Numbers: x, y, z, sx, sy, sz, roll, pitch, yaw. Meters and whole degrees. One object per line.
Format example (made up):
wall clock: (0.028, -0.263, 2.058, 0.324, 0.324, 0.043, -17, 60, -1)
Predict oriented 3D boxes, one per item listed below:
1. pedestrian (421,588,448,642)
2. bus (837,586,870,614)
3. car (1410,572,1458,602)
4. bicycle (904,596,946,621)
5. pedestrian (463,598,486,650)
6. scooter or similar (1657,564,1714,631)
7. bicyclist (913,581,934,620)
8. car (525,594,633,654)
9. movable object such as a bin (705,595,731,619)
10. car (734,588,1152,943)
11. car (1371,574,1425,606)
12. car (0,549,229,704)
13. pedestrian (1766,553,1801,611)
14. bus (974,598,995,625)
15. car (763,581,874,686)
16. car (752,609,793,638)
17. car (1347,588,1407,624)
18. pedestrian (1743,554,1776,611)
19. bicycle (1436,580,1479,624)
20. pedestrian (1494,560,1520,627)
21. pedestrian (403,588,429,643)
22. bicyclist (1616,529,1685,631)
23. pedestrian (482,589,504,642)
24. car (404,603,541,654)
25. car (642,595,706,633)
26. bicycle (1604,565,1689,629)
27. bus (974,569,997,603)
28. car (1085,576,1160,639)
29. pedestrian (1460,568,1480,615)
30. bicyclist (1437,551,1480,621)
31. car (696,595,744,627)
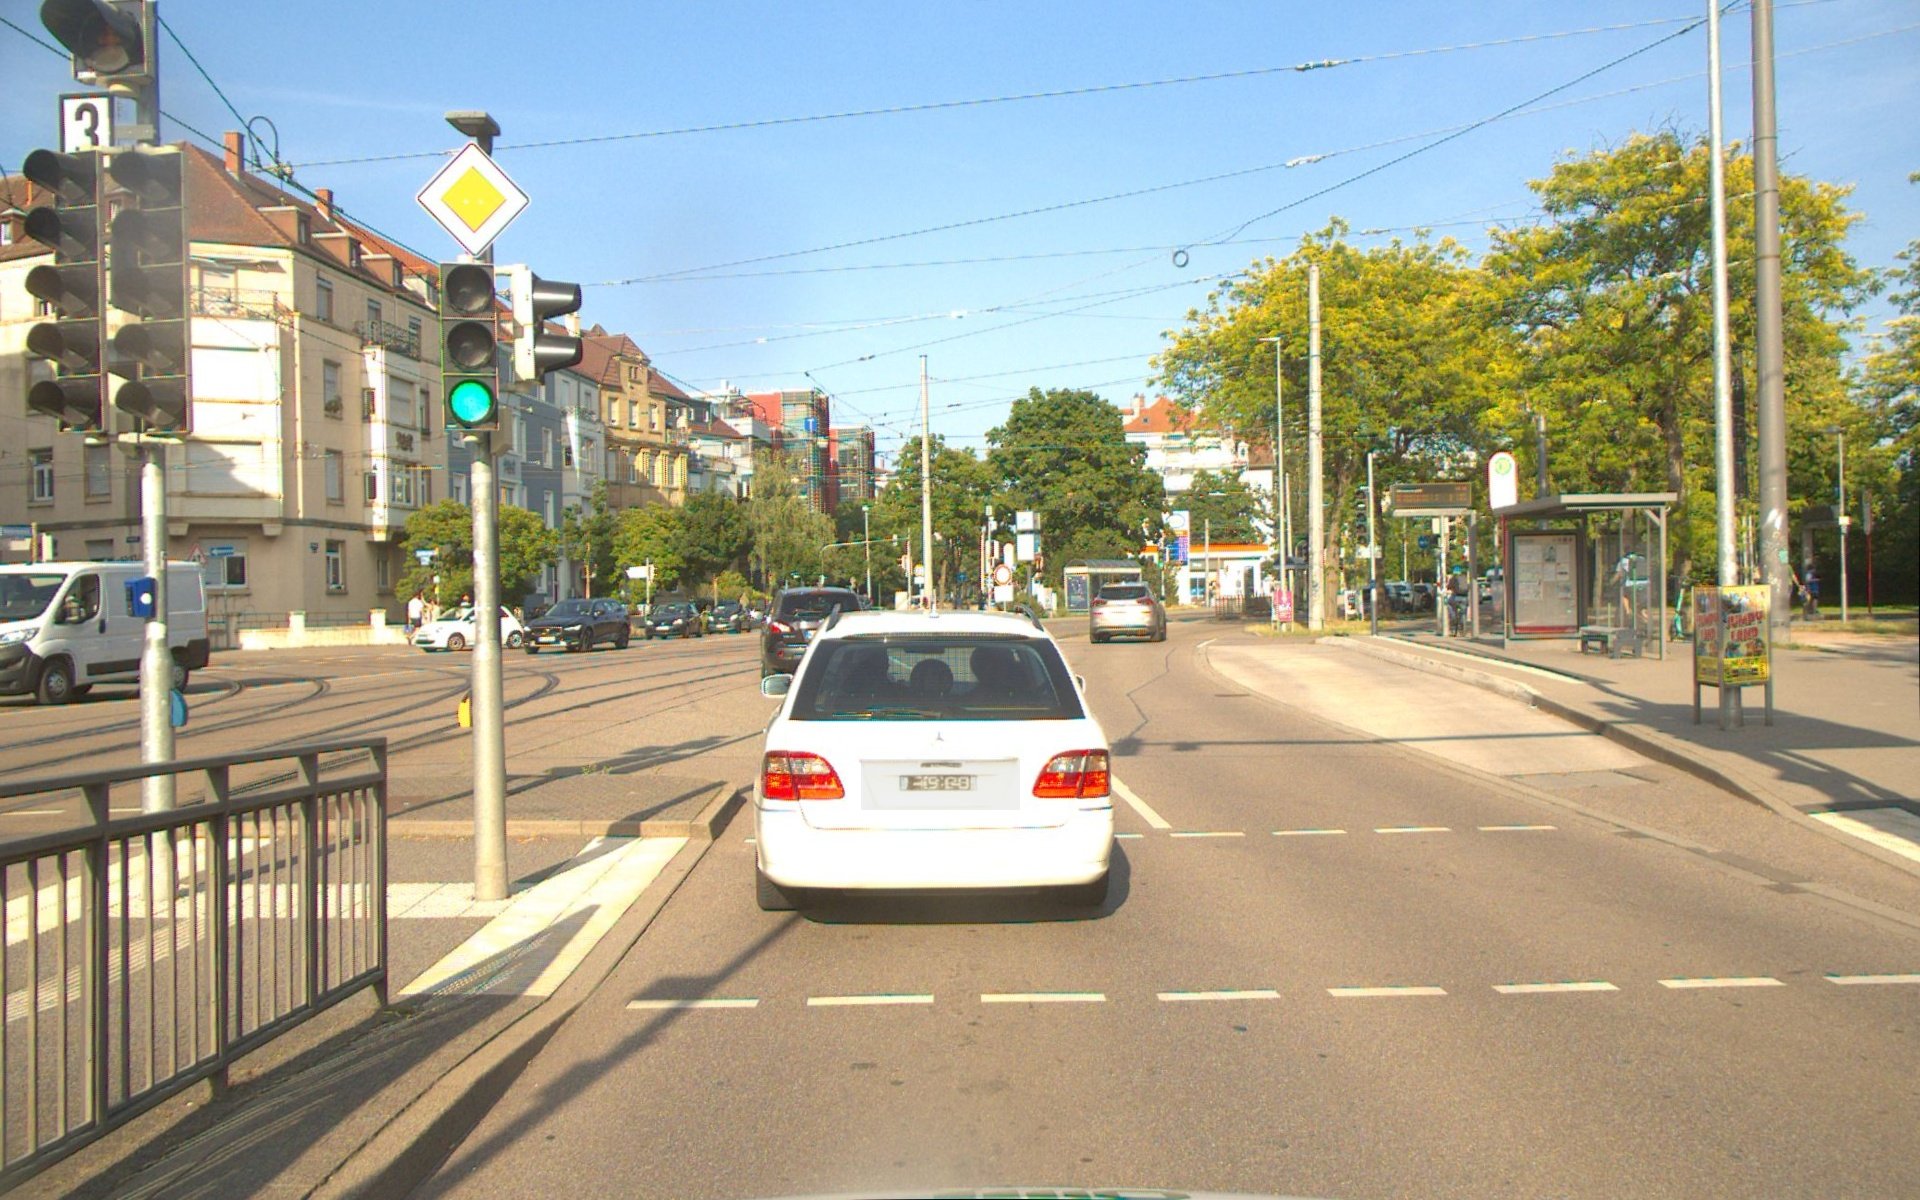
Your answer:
pedestrian: (-18.541, 0.540, 58.356, 0.660, 1.880, 0.650, -1, 0, 6)
bus: (-6.581, 0.000, 102.397, 1.807, 1.665, 4.158, -1, 0, -1)
car: (27.015, -0.744, 94.205, 1.818, 1.542, 3.995, -3, 0, 27)
bicycle: (-1.599, 0.401, 75.445, 1.875, 1.011, 0.726, -3, 0, -1)
pedestrian: (-17.917, 0.878, 61.041, 0.572, 1.914, 0.627, -1, 0, 3)
scooter or similar: (13.837, -0.047, 31.565, 0.345, 1.253, 1.131, -1, 0, -15)
bicyclist: (-1.649, 0.039, 75.442, 0.881, 1.728, 0.732, -3, 0, 0)
car: (-11.161, 0.659, 48.816, 1.729, 1.520, 4.747, -1, 2, 4)
movable object such as a bin: (-15.564, 0.451, 106.326, 1.573, 1.446, 1.082, -2, 0, -8)
car: (-0.107, 0.714, 9.055, 1.798, 1.527, 3.814, 0, 0, -1)
car: (22.549, -0.527, 85.020, 1.818, 1.542, 3.995, -3, 0, 27)
car: (-14.498, 0.385, 27.072, 2.130, 2.278, 5.258, -1, 0, 8)
pedestrian: (24.272, -0.533, 48.755, 0.628, 1.694, 0.690, -1, 0, -1)
bus: (2.170, 1.010, 146.942, 1.761, 2.374, 3.999, 1, -1, 0)
car: (-2.306, 0.517, 27.724, 1.608, 1.628, 3.814, 0, 0, -1)
car: (-10.746, 1.333, 95.056, 1.654, 1.466, 4.002, -2, 1, 3)
car: (20.129, 0.270, 79.797, 1.818, 1.542, 3.994, -3, 0, 28)
pedestrian: (23.978, -0.532, 49.615, 0.628, 1.694, 0.690, -1, 0, -1)
bicycle: (13.204, 0.049, 43.945, 0.627, 1.107, 1.734, -4, 0, 3)
pedestrian: (14.932, -0.166, 45.162, 0.565, 1.808, 0.588, 1, 0, 7)
pedestrian: (-19.224, 0.534, 58.446, 0.644, 1.914, 0.627, -1, 0, 8)
bicyclist: (12.582, -0.359, 30.159, 0.636, 1.776, 1.139, -4, 0, -2)
pedestrian: (-17.258, 0.570, 61.099, 0.572, 1.914, 0.627, -1, 0, 4)
car: (-15.903, 0.914, 54.102, 1.766, 1.482, 3.981, -1, 1, 39)
car: (-11.721, 0.547, 67.919, 1.730, 1.458, 4.001, -1, 0, 2)
bicycle: (12.593, -0.053, 30.398, 0.628, 1.107, 1.939, -4, 0, -2)
bus: (2.052, -1.061, 131.304, 1.760, 2.600, 4.000, 1, -1, 1)
car: (4.403, 0.191, 45.319, 1.797, 1.628, 3.816, 0, 0, 2)
pedestrian: (18.682, -0.324, 60.618, 0.627, 1.694, 0.691, -1, 0, 14)
bicyclist: (13.155, -0.372, 43.672, 0.705, 1.776, 1.140, -4, 0, 2)
car: (-11.569, 0.503, 80.018, 1.600, 1.458, 3.630, -1, 0, 3)
